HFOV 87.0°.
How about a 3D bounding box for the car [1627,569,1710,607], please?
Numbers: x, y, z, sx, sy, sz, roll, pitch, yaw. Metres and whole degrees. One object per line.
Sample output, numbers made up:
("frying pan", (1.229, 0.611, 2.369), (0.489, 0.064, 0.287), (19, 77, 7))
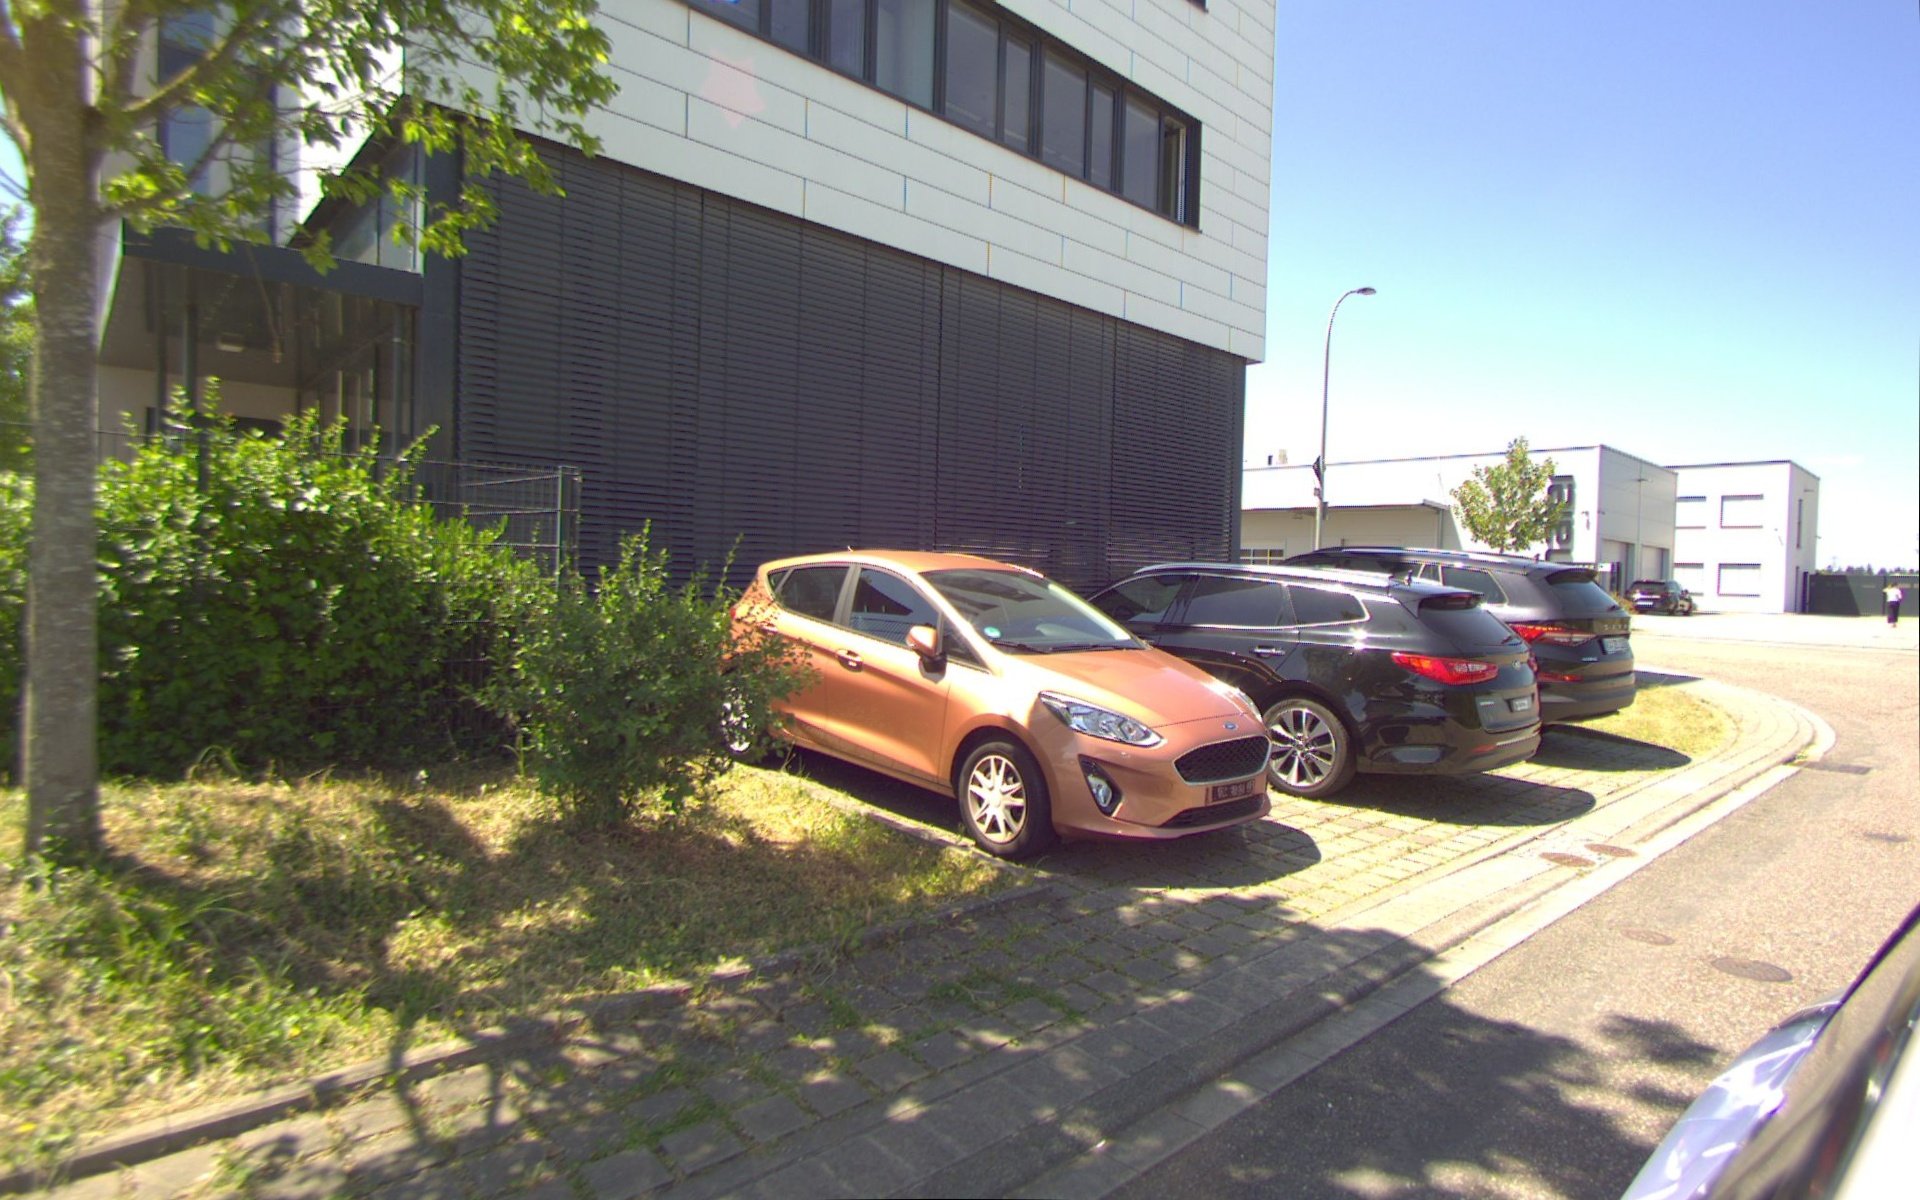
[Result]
("car", (28.248, -0.500, 40.299), (3.802, 1.437, 1.796), (-1, 3, -40))

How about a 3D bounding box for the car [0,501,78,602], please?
("car", (-15.664, -0.727, 14.736), (4.148, 1.478, 1.810), (-1, 3, -39))

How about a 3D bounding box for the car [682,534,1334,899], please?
("car", (0.007, 0.393, 6.306), (1.695, 1.513, 3.993), (0, 3, -43))

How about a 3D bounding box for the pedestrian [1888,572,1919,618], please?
("pedestrian", (34.926, -0.192, 37.417), (0.770, 1.649, 0.614), (2, 2, 34))

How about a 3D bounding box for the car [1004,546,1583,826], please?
("car", (2.279, 0.401, 7.596), (1.752, 1.513, 3.717), (0, 3, -43))

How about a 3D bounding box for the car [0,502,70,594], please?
("car", (-17.583, -0.886, 16.771), (4.148, 1.548, 1.810), (-1, 3, -39))

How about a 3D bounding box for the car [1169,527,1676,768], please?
("car", (4.122, 0.245, 9.603), (1.693, 1.787, 3.999), (0, 3, -38))

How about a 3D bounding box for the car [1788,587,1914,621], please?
("car", (39.824, 0.142, 45.286), (1.966, 1.326, 3.994), (-1, 3, -41))
